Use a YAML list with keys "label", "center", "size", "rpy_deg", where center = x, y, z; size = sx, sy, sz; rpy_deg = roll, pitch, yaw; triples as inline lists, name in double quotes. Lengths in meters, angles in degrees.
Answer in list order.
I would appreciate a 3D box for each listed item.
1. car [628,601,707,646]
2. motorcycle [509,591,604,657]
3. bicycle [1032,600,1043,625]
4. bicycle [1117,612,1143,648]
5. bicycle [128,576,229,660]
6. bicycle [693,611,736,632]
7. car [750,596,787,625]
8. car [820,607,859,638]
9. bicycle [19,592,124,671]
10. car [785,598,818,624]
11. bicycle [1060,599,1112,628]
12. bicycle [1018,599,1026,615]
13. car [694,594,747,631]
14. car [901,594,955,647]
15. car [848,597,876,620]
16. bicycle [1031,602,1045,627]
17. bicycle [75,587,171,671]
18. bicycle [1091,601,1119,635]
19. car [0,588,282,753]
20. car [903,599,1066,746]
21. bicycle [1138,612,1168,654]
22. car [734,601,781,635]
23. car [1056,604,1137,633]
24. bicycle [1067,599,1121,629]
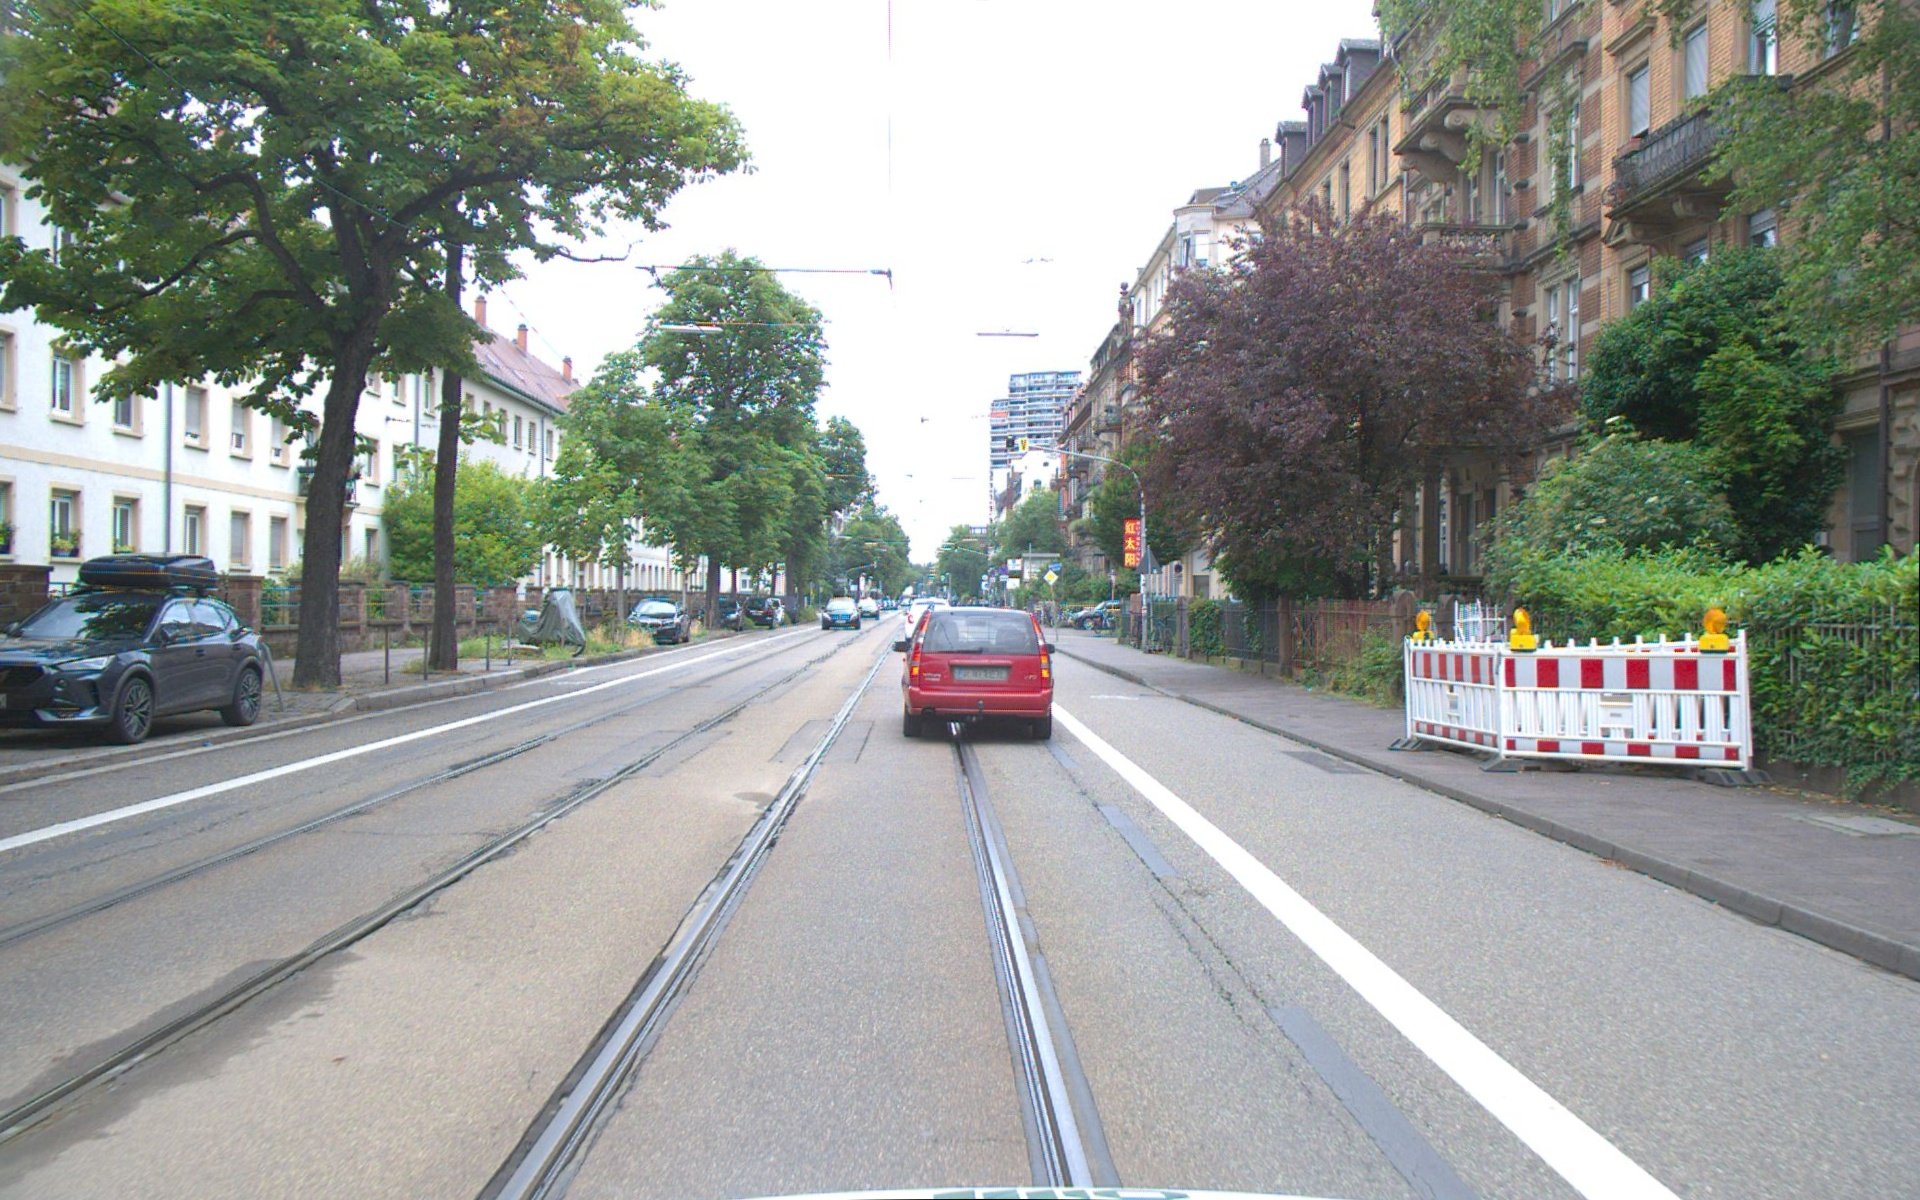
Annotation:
- label: "car"
  center: [-9.644, 0.760, 54.842]
  size: [1.851, 1.422, 4.416]
  rpy_deg: [1, 0, 0]
- label: "motorcycle"
  center: [-9.684, 0.572, 39.656]
  size: [2.225, 1.538, 0.924]
  rpy_deg: [0, -2, 34]
- label: "bicycle"
  center: [4.489, 0.720, 95.925]
  size: [0.540, 1.424, 1.733]
  rpy_deg: [0, 0, -1]
- label: "bicycle"
  center: [5.240, 0.913, 51.045]
  size: [0.512, 1.048, 2.175]
  rpy_deg: [0, 0, -2]
- label: "bicycle"
  center: [-13.703, 0.305, 29.065]
  size: [0.776, 1.406, 2.140]
  rpy_deg: [0, 0, -1]
- label: "bicycle"
  center: [-10.369, 0.918, 69.878]
  size: [1.713, 0.858, 0.684]
  rpy_deg: [1, 0, -1]
- label: "car"
  center: [-11.128, 0.592, 96.184]
  size: [1.679, 1.608, 3.999]
  rpy_deg: [2, 0, -1]
- label: "car"
  center: [-5.744, 1.052, 79.214]
  size: [1.720, 1.404, 4.025]
  rpy_deg: [1, 0, -2]
- label: "bicycle"
  center: [-15.333, 0.524, 28.602]
  size: [0.733, 1.321, 2.140]
  rpy_deg: [0, 0, -3]
- label: "car"
  center: [-9.646, 0.661, 100.620]
  size: [1.685, 1.512, 3.999]
  rpy_deg: [0, 0, -1]
- label: "bicycle"
  center: [7.351, 0.768, 96.510]
  size: [2.916, 1.653, 1.049]
  rpy_deg: [1, 0, -4]
- label: "bicycle"
  center: [4.341, 0.459, 115.911]
  size: [0.480, 1.118, 1.733]
  rpy_deg: [0, 0, -1]
- label: "car"
  center: [-10.350, 0.529, 71.665]
  size: [1.683, 1.508, 4.000]
  rpy_deg: [1, 0, 0]
- label: "car"
  center: [-1.038, 0.660, 55.324]
  size: [1.683, 1.653, 3.941]
  rpy_deg: [1, 0, 1]
- label: "car"
  center: [-7.091, 0.606, 119.699]
  size: [1.855, 1.639, 4.499]
  rpy_deg: [1, 0, -2]
- label: "bicycle"
  center: [4.359, 0.804, 92.471]
  size: [0.694, 1.323, 1.903]
  rpy_deg: [0, 0, -1]
- label: "bicycle"
  center: [-14.538, 0.485, 28.781]
  size: [0.615, 1.406, 2.140]
  rpy_deg: [0, 0, -1]
- label: "bicycle"
  center: [6.744, 0.819, 76.841]
  size: [0.898, 1.533, 2.382]
  rpy_deg: [1, 0, 15]
- label: "car"
  center: [-9.091, 0.669, 17.912]
  size: [1.741, 1.537, 4.237]
  rpy_deg: [1, 0, -1]
- label: "car"
  center: [0.210, 0.760, 19.120]
  size: [1.655, 1.466, 3.742]
  rpy_deg: [2, 0, -1]
- label: "bicycle"
  center: [5.368, 0.908, 46.082]
  size: [0.512, 1.119, 2.175]
  rpy_deg: [1, 0, -2]
- label: "car"
  center: [-9.726, 0.854, 79.608]
  size: [1.813, 1.590, 3.942]
  rpy_deg: [1, 0, -1]
- label: "car"
  center: [6.821, 0.919, 82.399]
  size: [3.902, 1.385, 1.894]
  rpy_deg: [0, 0, 9]
- label: "bicycle"
  center: [7.650, 0.773, 94.302]
  size: [2.916, 1.653, 1.049]
  rpy_deg: [1, 0, -4]
